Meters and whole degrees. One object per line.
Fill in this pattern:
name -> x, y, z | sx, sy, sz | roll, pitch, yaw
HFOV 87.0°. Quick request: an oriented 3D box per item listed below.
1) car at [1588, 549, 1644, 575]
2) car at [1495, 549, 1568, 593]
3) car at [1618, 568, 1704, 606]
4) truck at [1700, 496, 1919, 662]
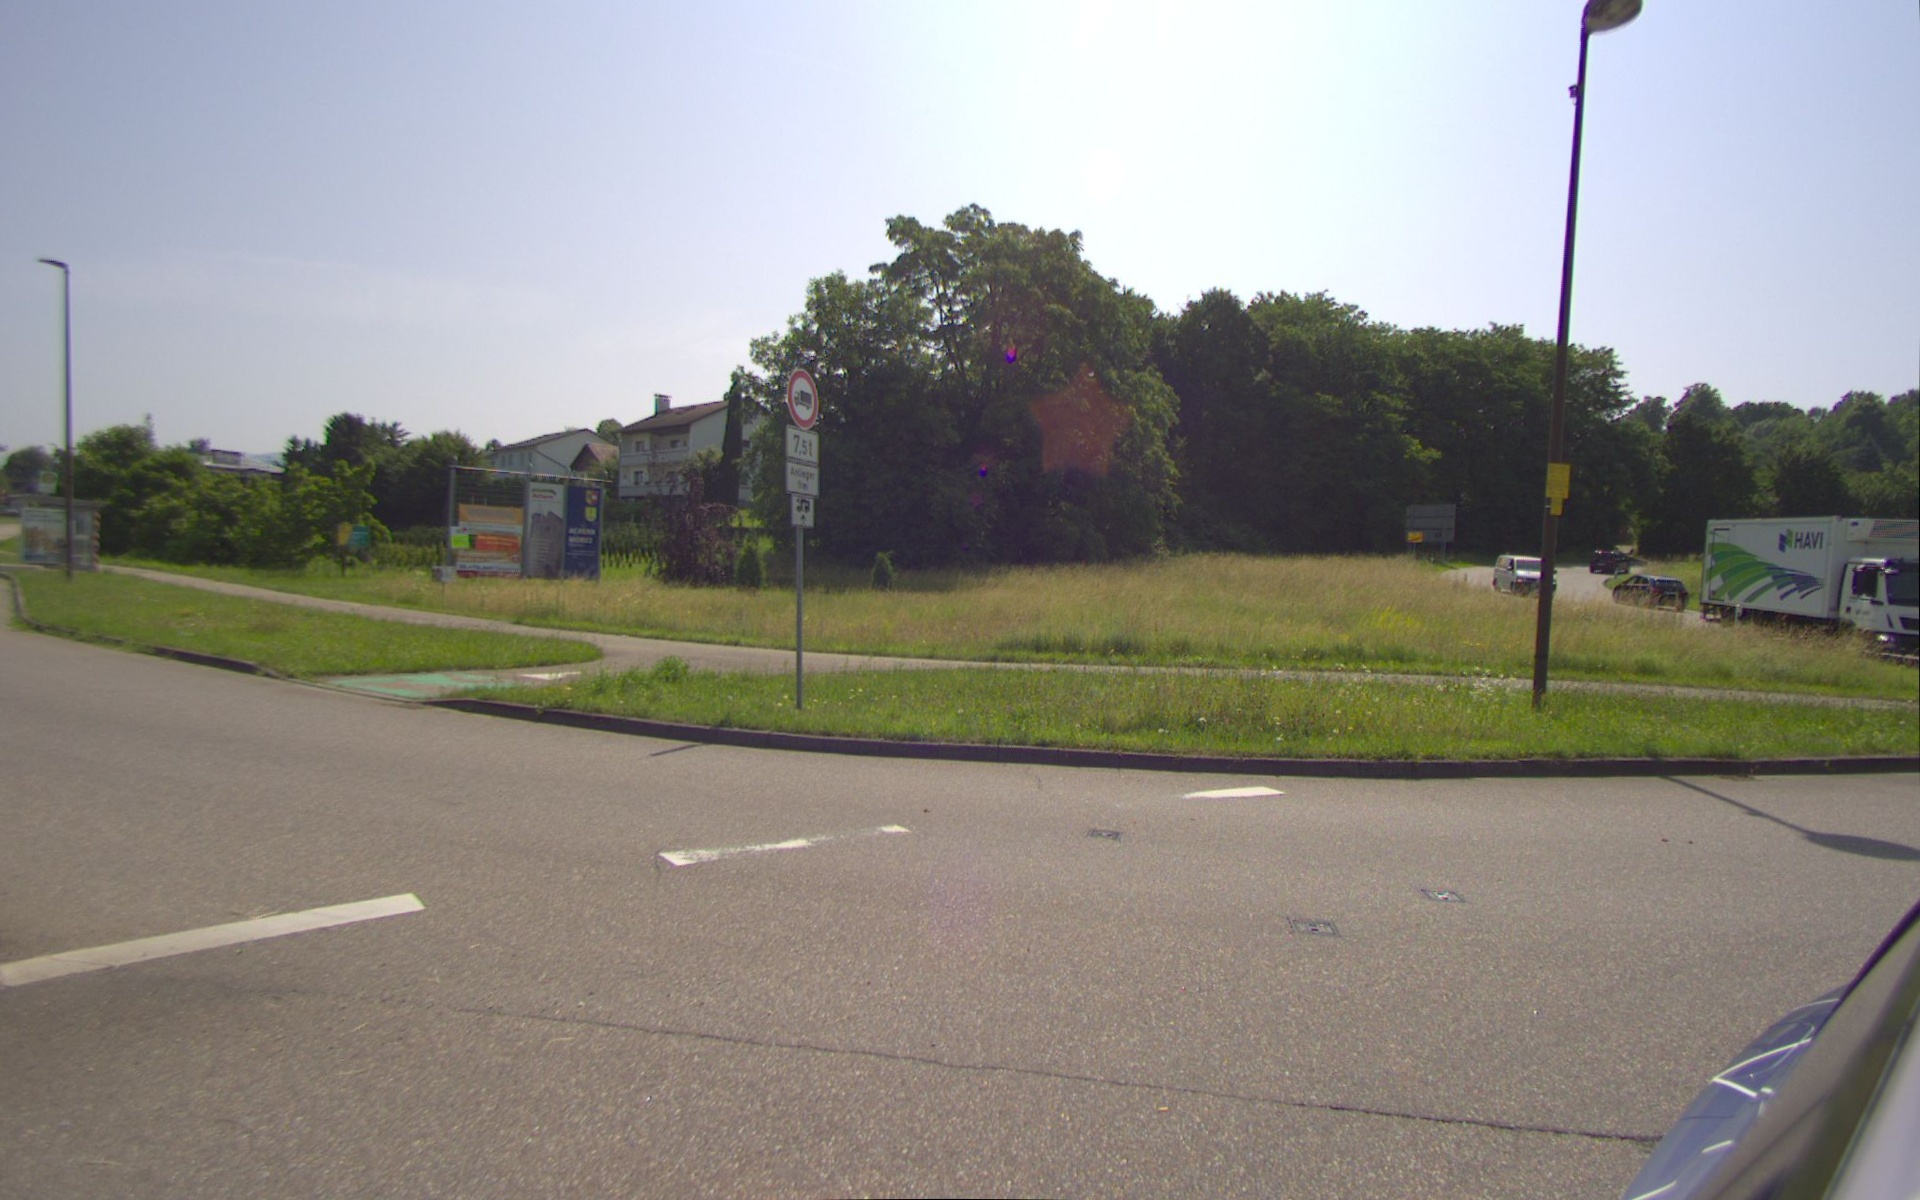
car -> 48.616, -2.831, 74.965 | 4.289, 1.614, 1.914 | 2, 3, -35
car -> 28.702, -1.498, 50.992 | 1.973, 2.038, 5.575 | 1, 3, 17
car -> 32.508, -0.655, 47.086 | 1.732, 1.548, 4.197 | 5, 3, 13
truck -> 24.196, -0.654, 27.682 | 2.856, 3.875, 8.993 | 1, 3, 13
